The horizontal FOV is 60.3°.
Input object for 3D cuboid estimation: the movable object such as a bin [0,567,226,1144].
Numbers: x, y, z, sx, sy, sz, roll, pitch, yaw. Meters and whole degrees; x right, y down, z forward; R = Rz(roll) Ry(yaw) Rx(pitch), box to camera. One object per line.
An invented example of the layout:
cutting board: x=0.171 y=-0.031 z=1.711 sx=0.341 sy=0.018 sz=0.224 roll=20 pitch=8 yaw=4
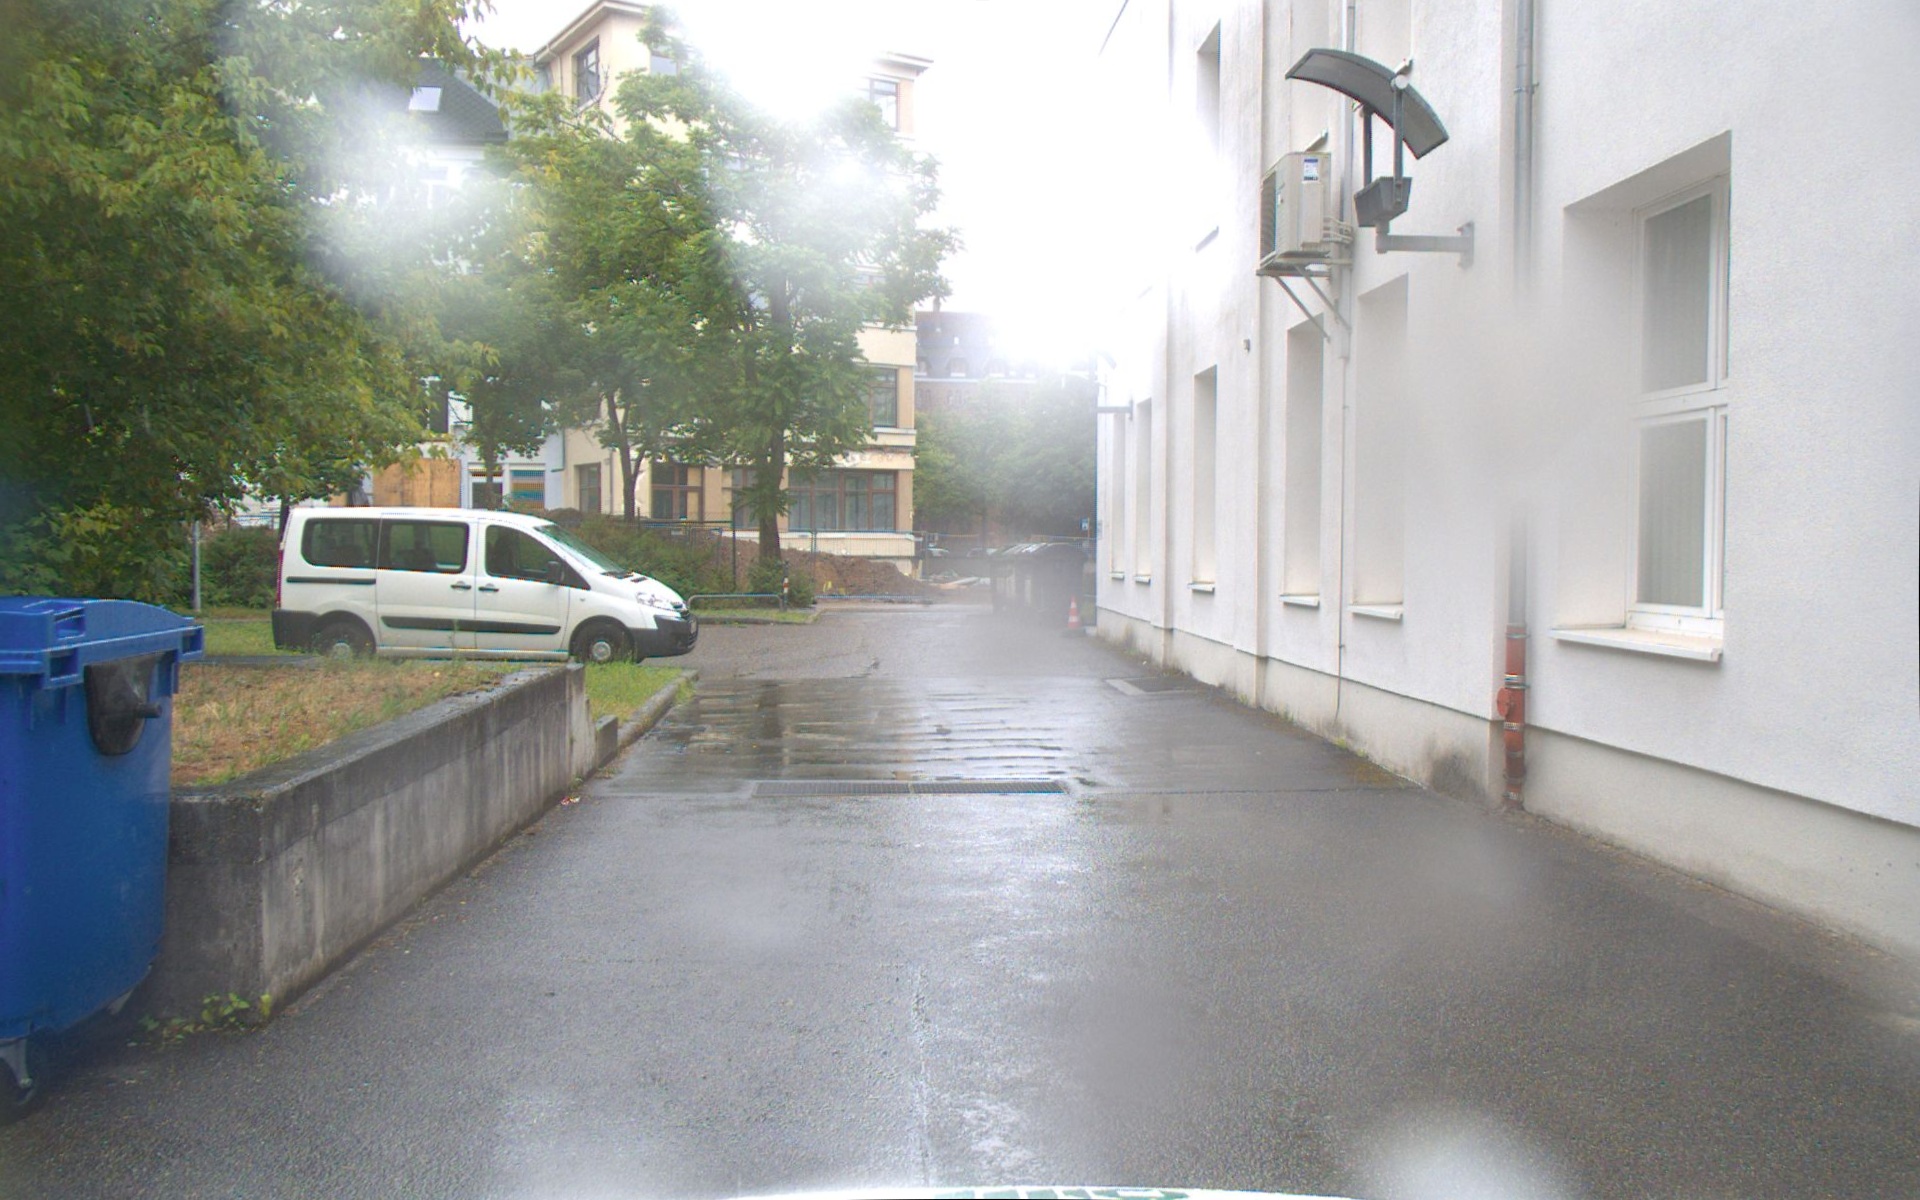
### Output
movable object such as a bin: x=-2.785 y=0.604 z=4.430 sx=1.197 sy=1.360 sz=1.006 roll=0 pitch=2 yaw=-3

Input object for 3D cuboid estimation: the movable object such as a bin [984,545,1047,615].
movable object such as a bin: x=1.180 y=-0.424 z=35.511 sx=1.191 sy=1.462 sz=1.258 roll=0 pitch=0 yaw=-5

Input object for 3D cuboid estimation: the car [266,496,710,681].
car: x=-5.451 y=-0.176 z=19.651 sx=4.684 sy=2.048 sz=2.000 roll=-1 pitch=2 yaw=-3

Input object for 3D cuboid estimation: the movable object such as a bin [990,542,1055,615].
movable object such as a bin: x=1.285 y=-0.430 z=34.137 sx=1.191 sy=1.462 sz=1.258 roll=0 pitch=0 yaw=-5

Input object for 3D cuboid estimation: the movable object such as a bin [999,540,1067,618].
movable object such as a bin: x=1.428 y=-0.401 z=32.768 sx=1.191 sy=1.494 sz=1.234 roll=0 pitch=0 yaw=-5

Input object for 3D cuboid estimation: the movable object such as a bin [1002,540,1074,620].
movable object such as a bin: x=1.461 y=-0.367 z=31.135 sx=1.191 sy=1.462 sz=1.293 roll=0 pitch=0 yaw=-5

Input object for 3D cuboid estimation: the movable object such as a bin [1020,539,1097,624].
movable object such as a bin: x=1.740 y=-0.321 z=29.459 sx=1.191 sy=1.462 sz=1.234 roll=0 pitch=0 yaw=-5
